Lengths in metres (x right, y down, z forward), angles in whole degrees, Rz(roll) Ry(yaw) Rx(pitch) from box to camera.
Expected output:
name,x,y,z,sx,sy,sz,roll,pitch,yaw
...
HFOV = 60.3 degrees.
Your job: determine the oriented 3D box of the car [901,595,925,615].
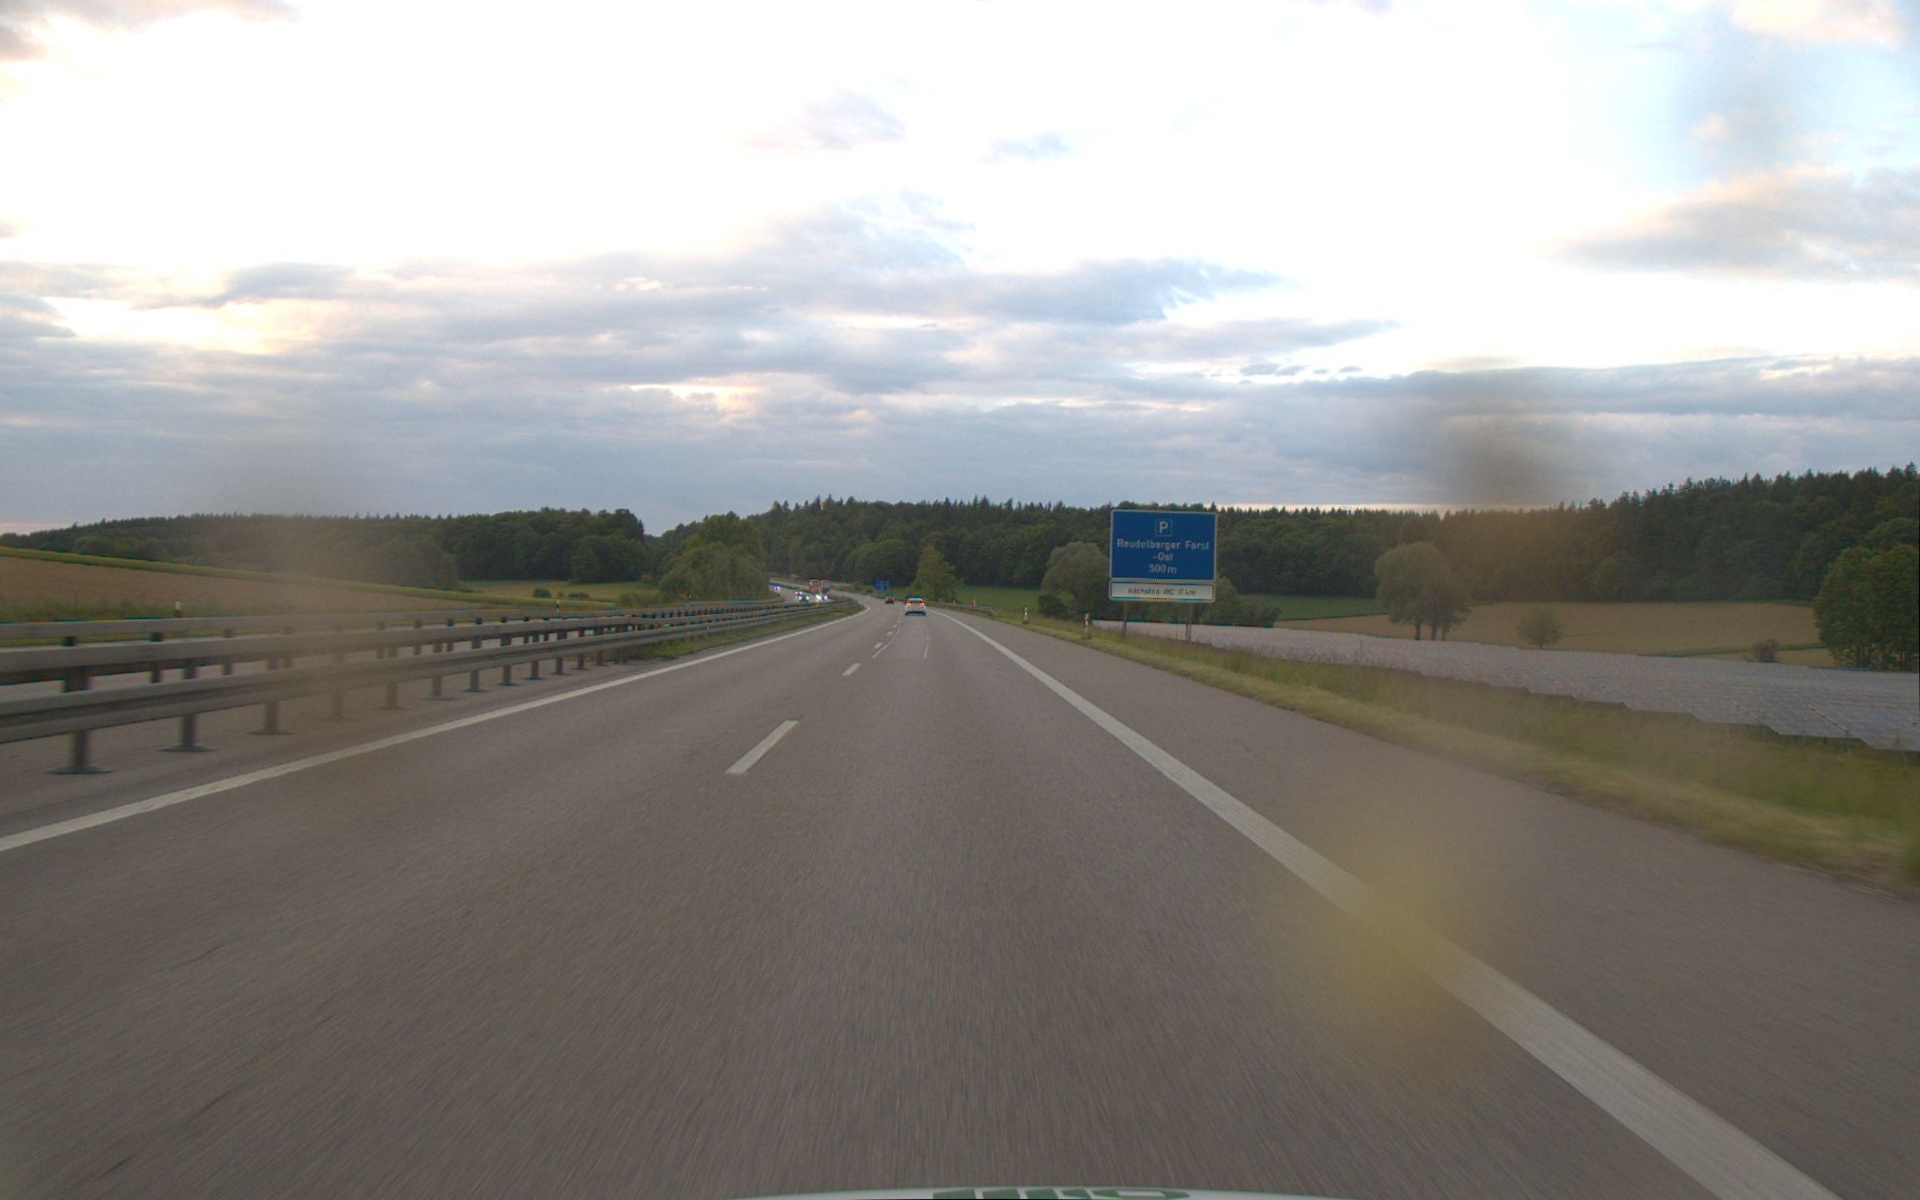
name,x,y,z,sx,sy,sz,roll,pitch,yaw
car,-4.152,0.433,144.932,1.913,1.558,4.078,3,1,-3
